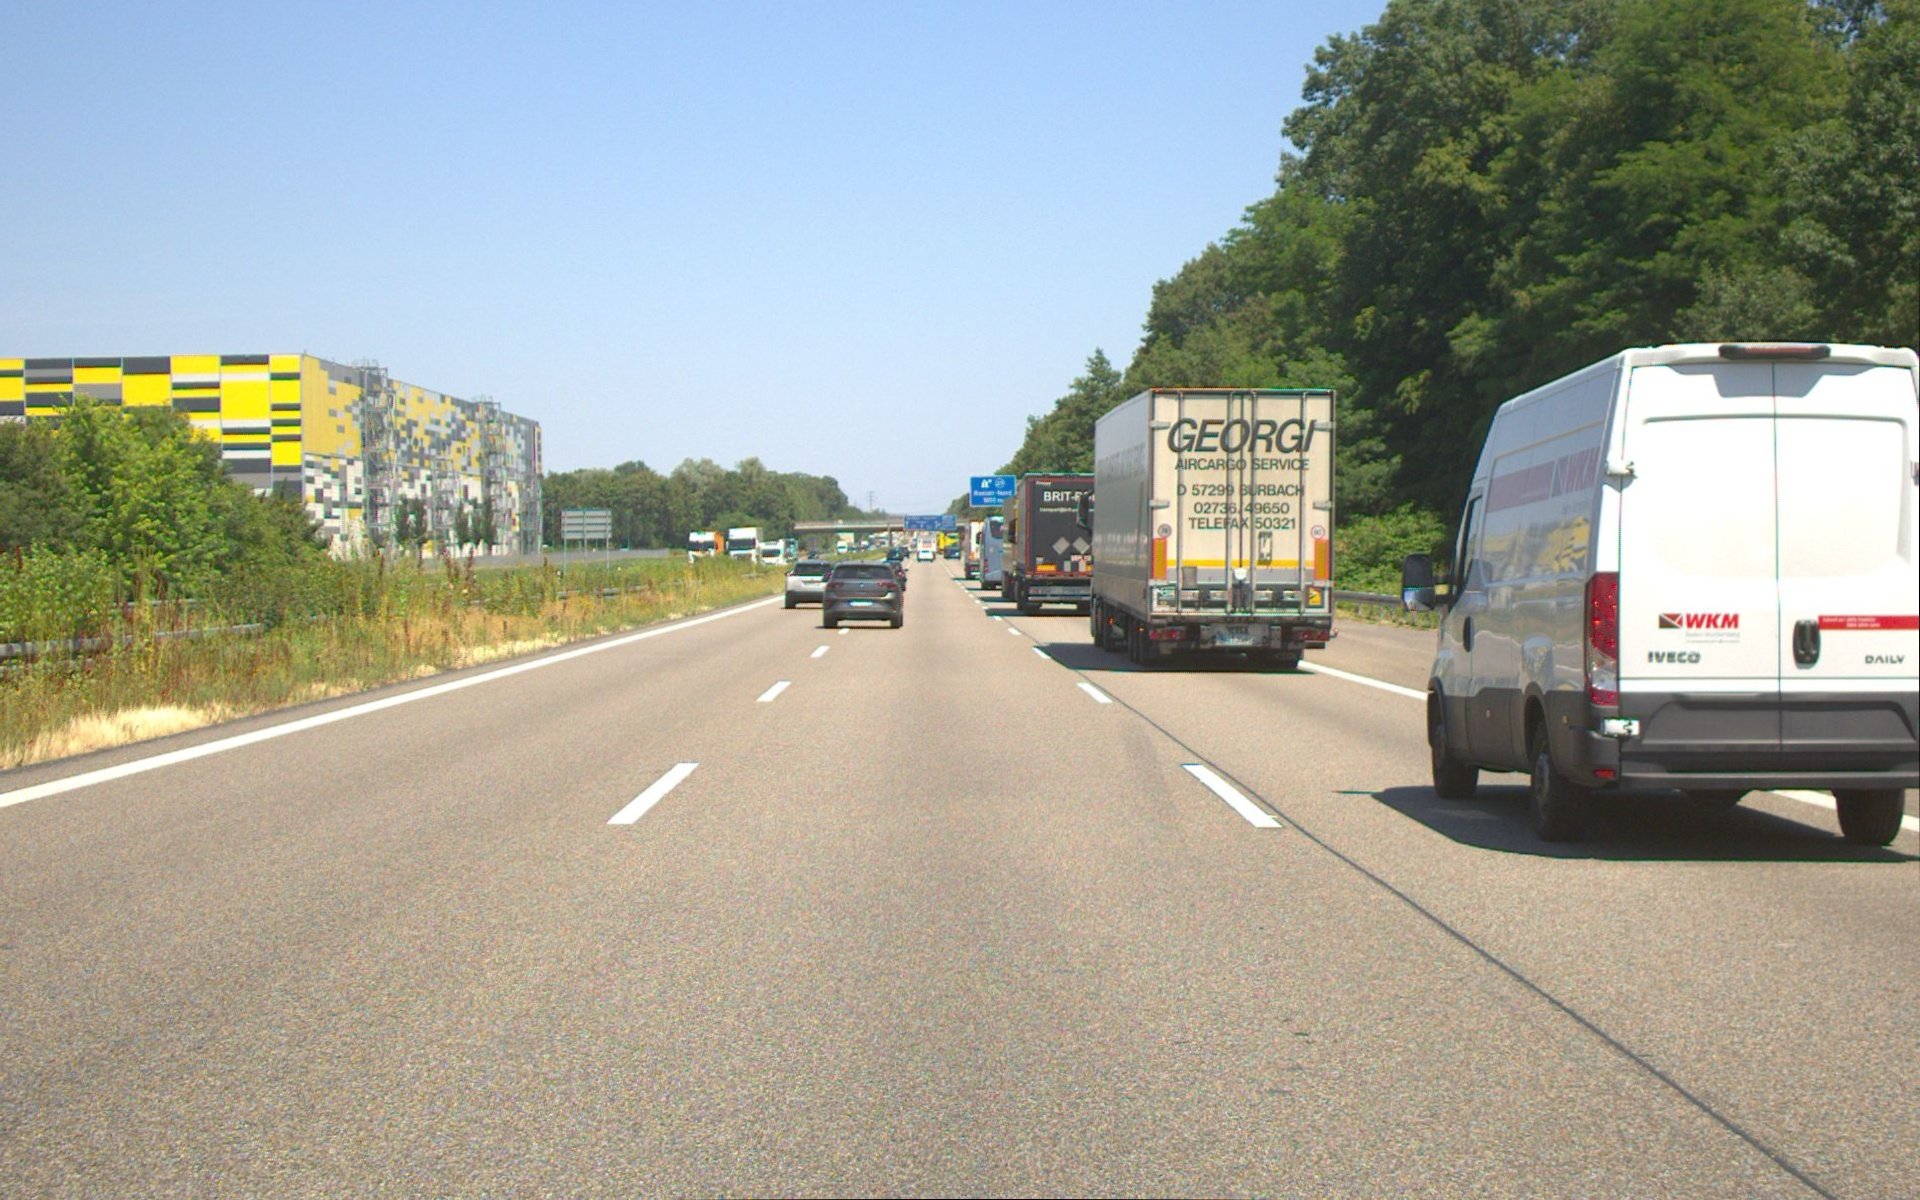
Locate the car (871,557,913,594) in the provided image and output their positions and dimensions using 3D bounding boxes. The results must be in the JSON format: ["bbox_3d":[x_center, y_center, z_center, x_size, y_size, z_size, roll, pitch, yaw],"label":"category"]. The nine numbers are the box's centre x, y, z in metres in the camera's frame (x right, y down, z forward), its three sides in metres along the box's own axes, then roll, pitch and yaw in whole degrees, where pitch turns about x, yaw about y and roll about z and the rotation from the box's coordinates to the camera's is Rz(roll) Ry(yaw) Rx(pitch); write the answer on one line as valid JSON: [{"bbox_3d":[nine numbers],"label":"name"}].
[{"bbox_3d":[-3.197,-1.177,162.866,1.941,1.700,4.000,0,1,-1],"label":"car"}]

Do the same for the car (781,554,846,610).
[{"bbox_3d":[-4.674,-0.589,110.008,1.993,1.722,4.131,0,1,-1],"label":"car"}]

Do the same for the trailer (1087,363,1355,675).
[{"bbox_3d":[3.855,-1.205,54.267,2.993,4.274,13.419,1,1,-1],"label":"trailer"}]

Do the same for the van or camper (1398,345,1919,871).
[{"bbox_3d":[4.112,0.000,20.551,2.022,2.628,6.487,1,1,-1],"label":"van or camper"}]

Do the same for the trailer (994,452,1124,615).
[{"bbox_3d":[2.827,-1.930,102.793,3.106,4.491,14.897,1,1,-1],"label":"trailer"}]

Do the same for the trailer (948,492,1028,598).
[{"bbox_3d":[1.022,-2.142,133.897,2.834,3.940,11.685,0,1,-1],"label":"trailer"}]

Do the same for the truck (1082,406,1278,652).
[{"bbox_3d":[3.781,-1.220,60.251,3.002,4.110,5.253,0,0,-1],"label":"truck"}]

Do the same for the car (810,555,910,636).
[{"bbox_3d":[-2.294,-0.129,80.110,2.216,1.784,5.393,-1,1,-1],"label":"car"}]

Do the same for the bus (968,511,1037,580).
[{"bbox_3d":[2.087,-2.736,172.384,3.062,3.315,8.275,-1,1,-2],"label":"bus"}]

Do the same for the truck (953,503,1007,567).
[{"bbox_3d":[1.314,-4.336,229.186,3.423,4.112,9.564,-1,1,0],"label":"truck"}]
